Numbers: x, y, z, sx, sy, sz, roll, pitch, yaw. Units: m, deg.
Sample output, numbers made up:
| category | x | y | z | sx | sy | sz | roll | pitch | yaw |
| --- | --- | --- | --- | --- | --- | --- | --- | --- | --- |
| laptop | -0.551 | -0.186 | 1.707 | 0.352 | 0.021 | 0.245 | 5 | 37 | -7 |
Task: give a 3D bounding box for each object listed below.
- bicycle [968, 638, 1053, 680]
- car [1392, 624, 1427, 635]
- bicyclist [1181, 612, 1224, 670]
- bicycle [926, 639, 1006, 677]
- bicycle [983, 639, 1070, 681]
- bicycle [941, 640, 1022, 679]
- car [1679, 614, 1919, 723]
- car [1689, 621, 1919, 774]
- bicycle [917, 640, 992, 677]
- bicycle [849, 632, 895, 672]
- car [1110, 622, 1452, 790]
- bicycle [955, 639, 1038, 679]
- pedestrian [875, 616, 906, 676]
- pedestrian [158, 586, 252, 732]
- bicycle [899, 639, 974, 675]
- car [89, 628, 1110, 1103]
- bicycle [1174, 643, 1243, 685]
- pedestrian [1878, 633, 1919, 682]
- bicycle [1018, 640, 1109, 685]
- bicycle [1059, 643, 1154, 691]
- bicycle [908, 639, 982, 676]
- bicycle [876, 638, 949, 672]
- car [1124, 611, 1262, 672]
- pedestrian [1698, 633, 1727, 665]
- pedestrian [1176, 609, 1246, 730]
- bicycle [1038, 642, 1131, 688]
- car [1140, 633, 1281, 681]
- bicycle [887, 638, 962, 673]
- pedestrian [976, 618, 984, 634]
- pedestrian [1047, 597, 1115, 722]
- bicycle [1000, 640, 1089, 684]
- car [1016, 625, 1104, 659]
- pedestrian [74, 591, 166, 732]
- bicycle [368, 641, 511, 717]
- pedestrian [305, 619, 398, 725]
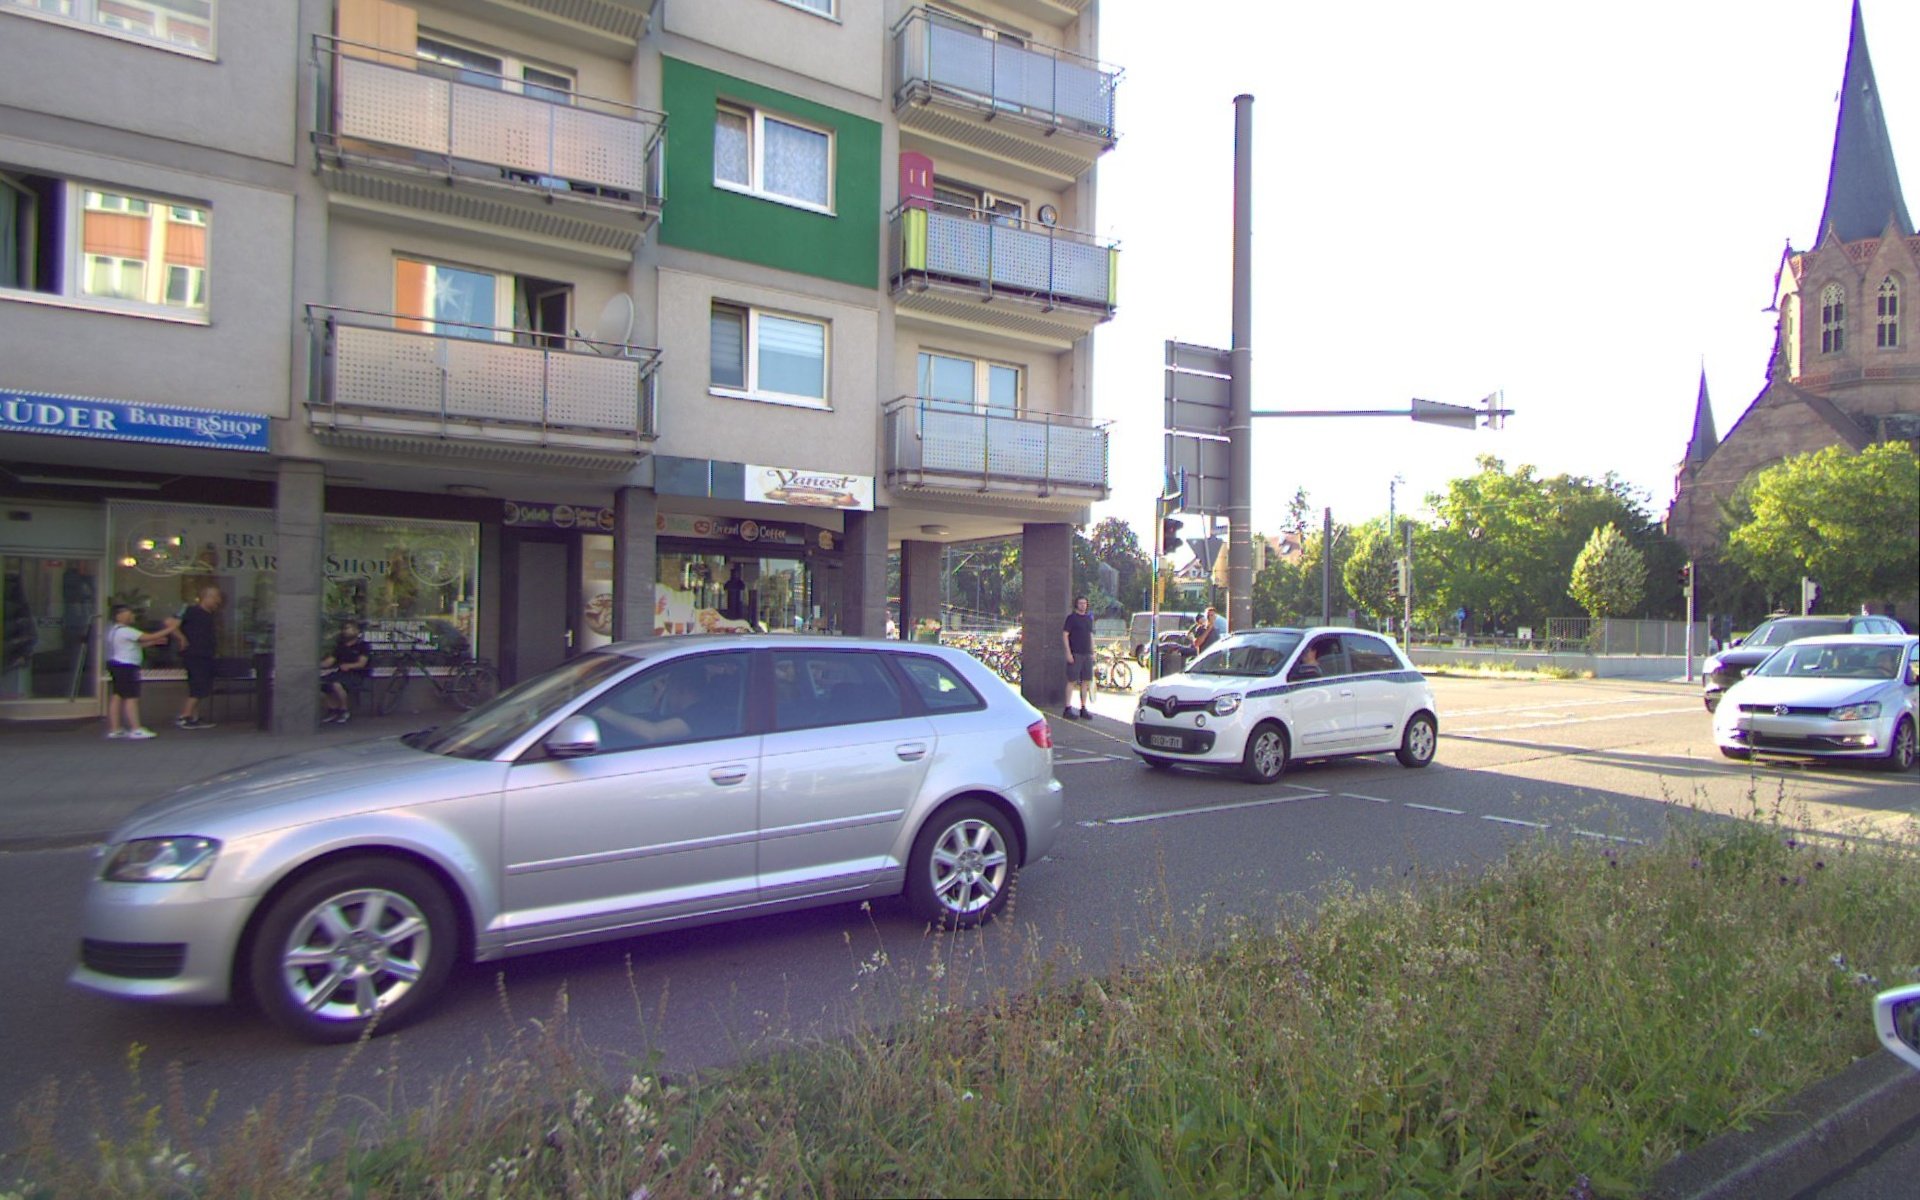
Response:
| category | x | y | z | sx | sy | sz | roll | pitch | yaw |
| --- | --- | --- | --- | --- | --- | --- | --- | --- | --- |
| bicycle | 1.383 | 1.594 | 27.225 | 2.273 | 1.065 | 0.731 | 2 | -2 | -31 |
| car | 67.465 | 4.383 | 150.734 | 1.985 | 1.592 | 4.411 | 2 | -2 | -41 |
| bicyclist | 6.898 | 1.165 | 28.604 | 0.952 | 1.619 | 0.732 | 1 | -2 | -30 |
| bicycle | 0.181 | 1.691 | 29.277 | 2.273 | 1.065 | 0.731 | 2 | -2 | -31 |
| bicycle | 1.768 | 1.584 | 26.535 | 2.273 | 1.065 | 0.731 | 2 | -2 | -31 |
| bicycle | 0.618 | 1.677 | 28.596 | 2.273 | 1.065 | 0.731 | 2 | -2 | -31 |
| car | 15.097 | 1.165 | 18.016 | 4.730 | 1.733 | 1.807 | 1 | -2 | -31 |
| car | 10.532 | 1.055 | 11.932 | 3.762 | 1.565 | 1.667 | 1 | -2 | -31 |
| bicycle | -0.146 | 1.742 | 29.863 | 2.273 | 1.065 | 0.558 | 2 | -2 | -31 |
| bicycle | -2.579 | 1.492 | 29.200 | 0.514 | 1.106 | 2.050 | 1 | -2 | -30 |
| car | 3.573 | 1.052 | 11.060 | 3.597 | 1.565 | 1.666 | 1 | -3 | -32 |
| bicycle | 1.019 | 1.625 | 27.905 | 2.273 | 1.065 | 0.731 | 2 | -2 | -31 |
| pedestrian | -2.033 | 1.342 | 29.473 | 0.677 | 1.745 | 0.605 | 1 | -1 | -31 |
| pedestrian | -9.073 | 0.697 | 12.083 | 0.613 | 1.694 | 0.658 | 0 | -1 | 24 |
| bicycle | -0.717 | 1.738 | 30.879 | 2.273 | 1.065 | 0.642 | 2 | -2 | -31 |
| car | -1.376 | 0.875 | 4.887 | 4.057 | 1.444 | 1.700 | 1 | -3 | -32 |
| bicycle | 7.012 | 1.781 | 28.397 | 0.940 | 1.112 | 1.769 | 1 | -2 | -30 |
| pedestrian | 35.001 | 2.133 | 37.447 | 0.803 | 1.762 | 0.960 | 2 | -1 | -31 |
| bicycle | 2.605 | 1.559 | 25.058 | 2.273 | 1.065 | 0.731 | 2 | -2 | -31 |
| bicycle | 3.464 | 1.567 | 23.691 | 2.273 | 1.065 | 0.731 | 2 | -1 | -31 |
| bicycle | -0.439 | 1.738 | 30.371 | 2.273 | 1.065 | 0.558 | 2 | -2 | -31 |
| bicycle | -1.505 | 1.762 | 32.255 | 2.273 | 1.065 | 0.731 | 2 | -2 | -31 |
| car | 8.314 | 1.456 | 36.237 | 1.978 | 2.040 | 4.896 | 2 | -2 | -32 |
| pedestrian | 42.594 | 2.766 | 56.857 | 0.831 | 1.719 | 1.013 | 2 | 0 | -18 |
| pedestrian | 3.891 | 1.059 | 15.588 | 0.802 | 1.811 | 0.606 | 1 | 2 | -27 |
| bicycle | 3.041 | 1.573 | 24.375 | 2.273 | 1.065 | 0.731 | 2 | -2 | -31 |
| car | 7.638 | 1.714 | 31.012 | 1.781 | 1.330 | 4.165 | 2 | -2 | -32 |
| bicycle | -1.101 | 1.750 | 31.566 | 2.273 | 1.065 | 0.731 | 2 | -2 | -31 |
| pedestrian | 2.341 | 3.107 | 118.618 | 0.677 | 1.847 | 0.531 | 2 | -1 | -27 |
| pedestrian | 1.906 | 0.920 | 15.856 | 0.802 | 1.900 | 0.605 | 1 | 2 | -30 |
| bicycle | 2.181 | 1.576 | 25.725 | 2.273 | 1.065 | 0.731 | 2 | -2 | -31 |
| car | 4.281 | 1.798 | 43.542 | 1.781 | 1.392 | 3.880 | 2 | -2 | -32 |
| pedestrian | -9.185 | 0.660 | 11.007 | 0.618 | 1.486 | 0.654 | 1 | -1 | -28 |
| bicycle | -7.353 | 1.095 | 14.236 | 1.684 | 1.012 | 0.619 | 2 | -2 | -40 |
| pedestrian | -7.956 | 0.917 | 13.153 | 0.613 | 1.331 | 0.811 | 0 | -1 | 16 |
